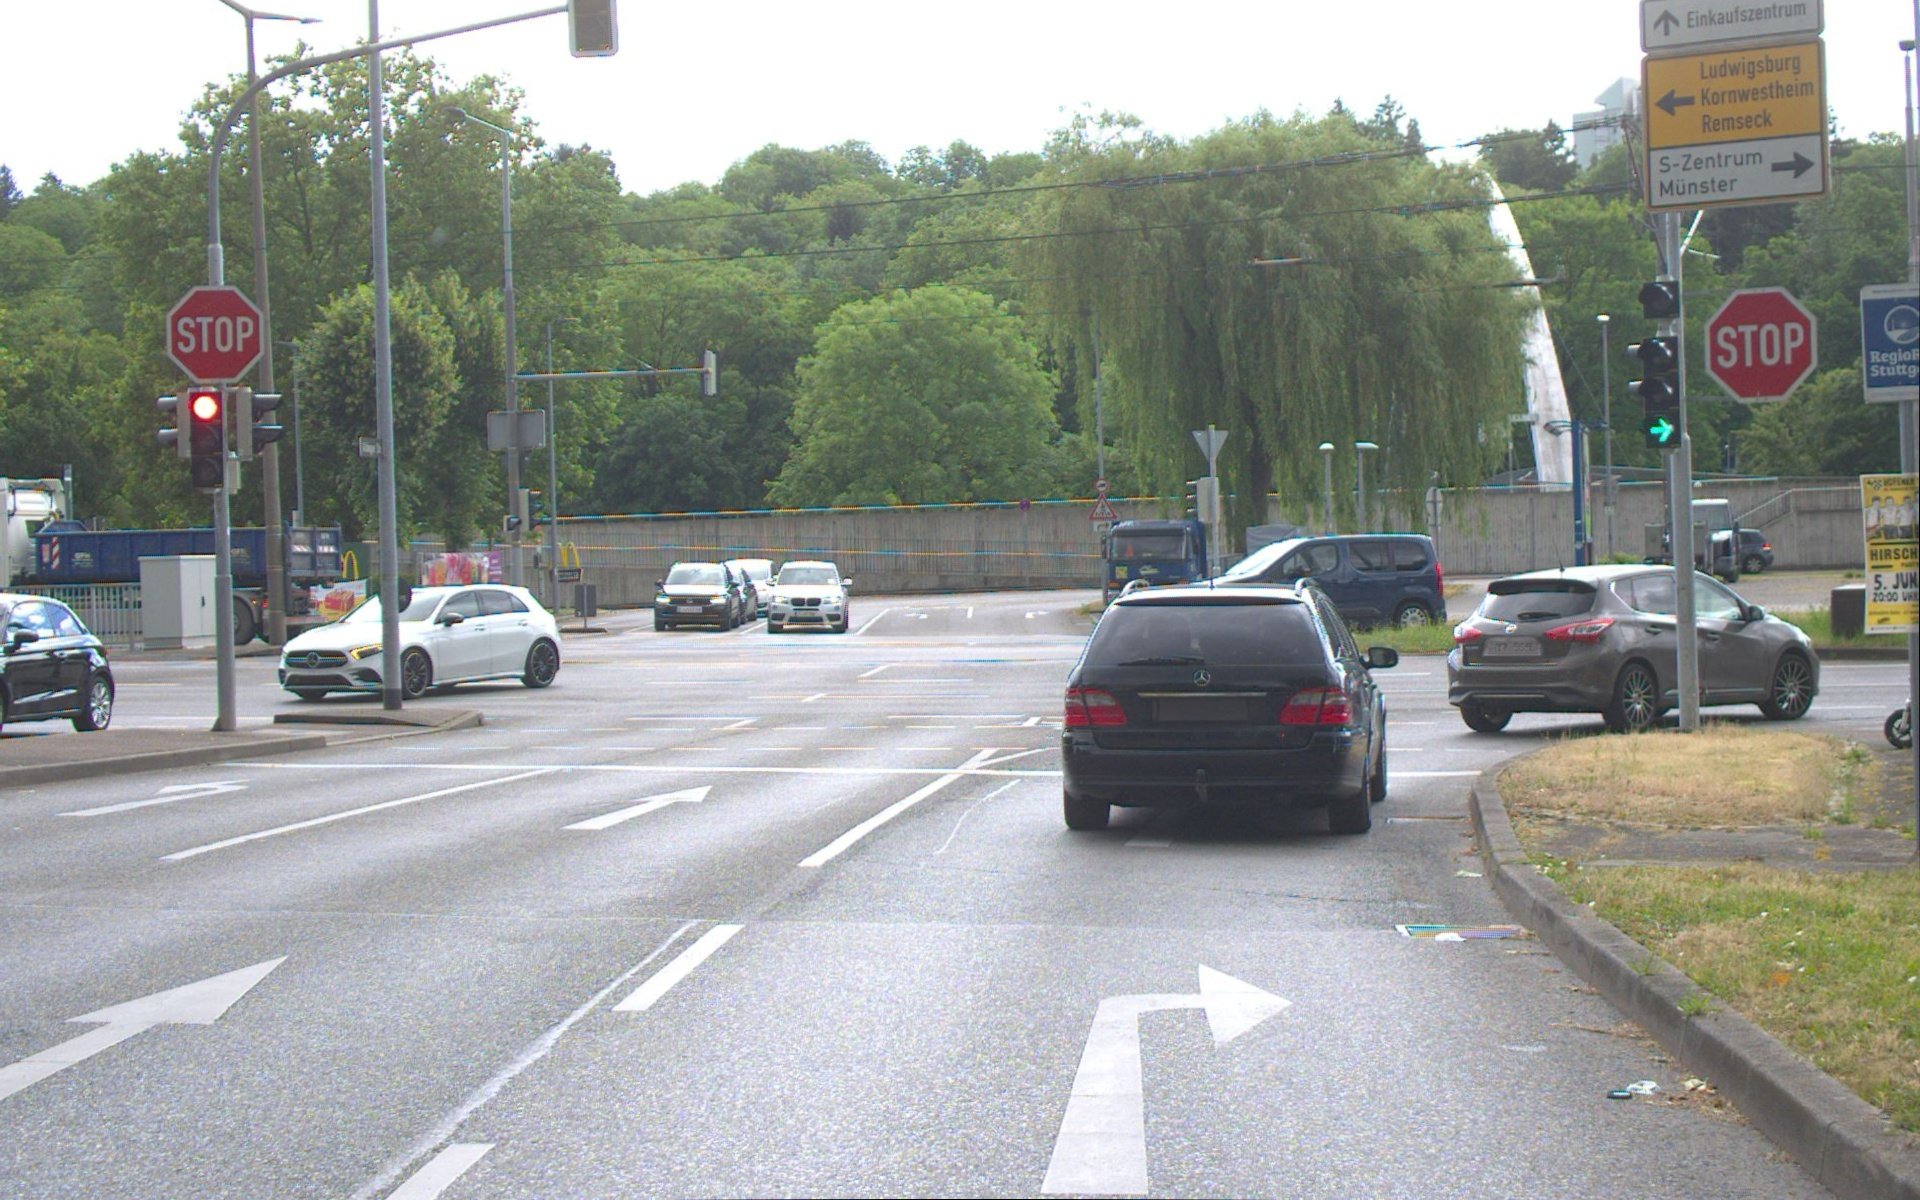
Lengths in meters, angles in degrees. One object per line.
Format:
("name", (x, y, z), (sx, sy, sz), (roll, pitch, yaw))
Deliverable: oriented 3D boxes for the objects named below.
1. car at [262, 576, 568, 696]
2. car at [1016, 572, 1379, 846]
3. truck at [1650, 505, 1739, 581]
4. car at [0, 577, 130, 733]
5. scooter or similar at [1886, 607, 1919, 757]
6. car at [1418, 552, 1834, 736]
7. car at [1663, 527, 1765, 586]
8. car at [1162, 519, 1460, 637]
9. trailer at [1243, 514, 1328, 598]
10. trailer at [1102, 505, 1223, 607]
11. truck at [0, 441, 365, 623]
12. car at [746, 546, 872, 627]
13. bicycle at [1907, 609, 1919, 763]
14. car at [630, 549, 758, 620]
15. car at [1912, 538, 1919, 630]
("car", (-7.021, 0.442, 44.728), (1.603, 1.401, 4.285), (-1, 1, 29))
("car", (1.589, 0.582, 21.401), (1.823, 1.504, 4.572), (0, 0, 9))
("truck", (20.749, -1.589, 97.261), (2.236, 2.007, 5.238), (-2, 0, 10))
("car", (-9.594, 0.536, 33.025), (1.617, 1.411, 3.893), (-1, 1, 12))
("scooter or similar", (7.867, 0.634, 26.868), (1.182, 1.165, 0.294), (-1, 1, 13))
("car", (6.255, 0.366, 32.039), (4.138, 1.525, 1.731), (-2, 1, -44))
("car", (24.475, -1.406, 111.607), (3.152, 1.812, 1.402), (-2, 0, 14))
("car", (5.741, -0.373, 56.202), (4.542, 1.768, 1.608), (-2, 1, -18))
("trailer", (8.923, -1.185, 93.908), (1.994, 2.176, 3.998), (-2, 0, 9))
("trailer", (5.458, -1.160, 92.189), (2.353, 2.573, 4.917), (-2, 0, 13))
("truck", (-17.970, -1.418, 75.529), (9.107, 3.575, 3.216), (-2, 0, 18))
("car", (-3.616, -0.348, 82.880), (1.995, 1.853, 3.998), (-1, 1, 13))
("bicycle", (7.880, 0.616, 25.289), (1.689, 1.107, 0.479), (-1, 2, 6))
("car", (-6.480, -0.396, 84.217), (1.995, 1.634, 3.998), (-1, 1, 13))
("car", (18.499, -0.330, 57.199), (5.055, 1.518, 1.742), (-1, 1, 17))
